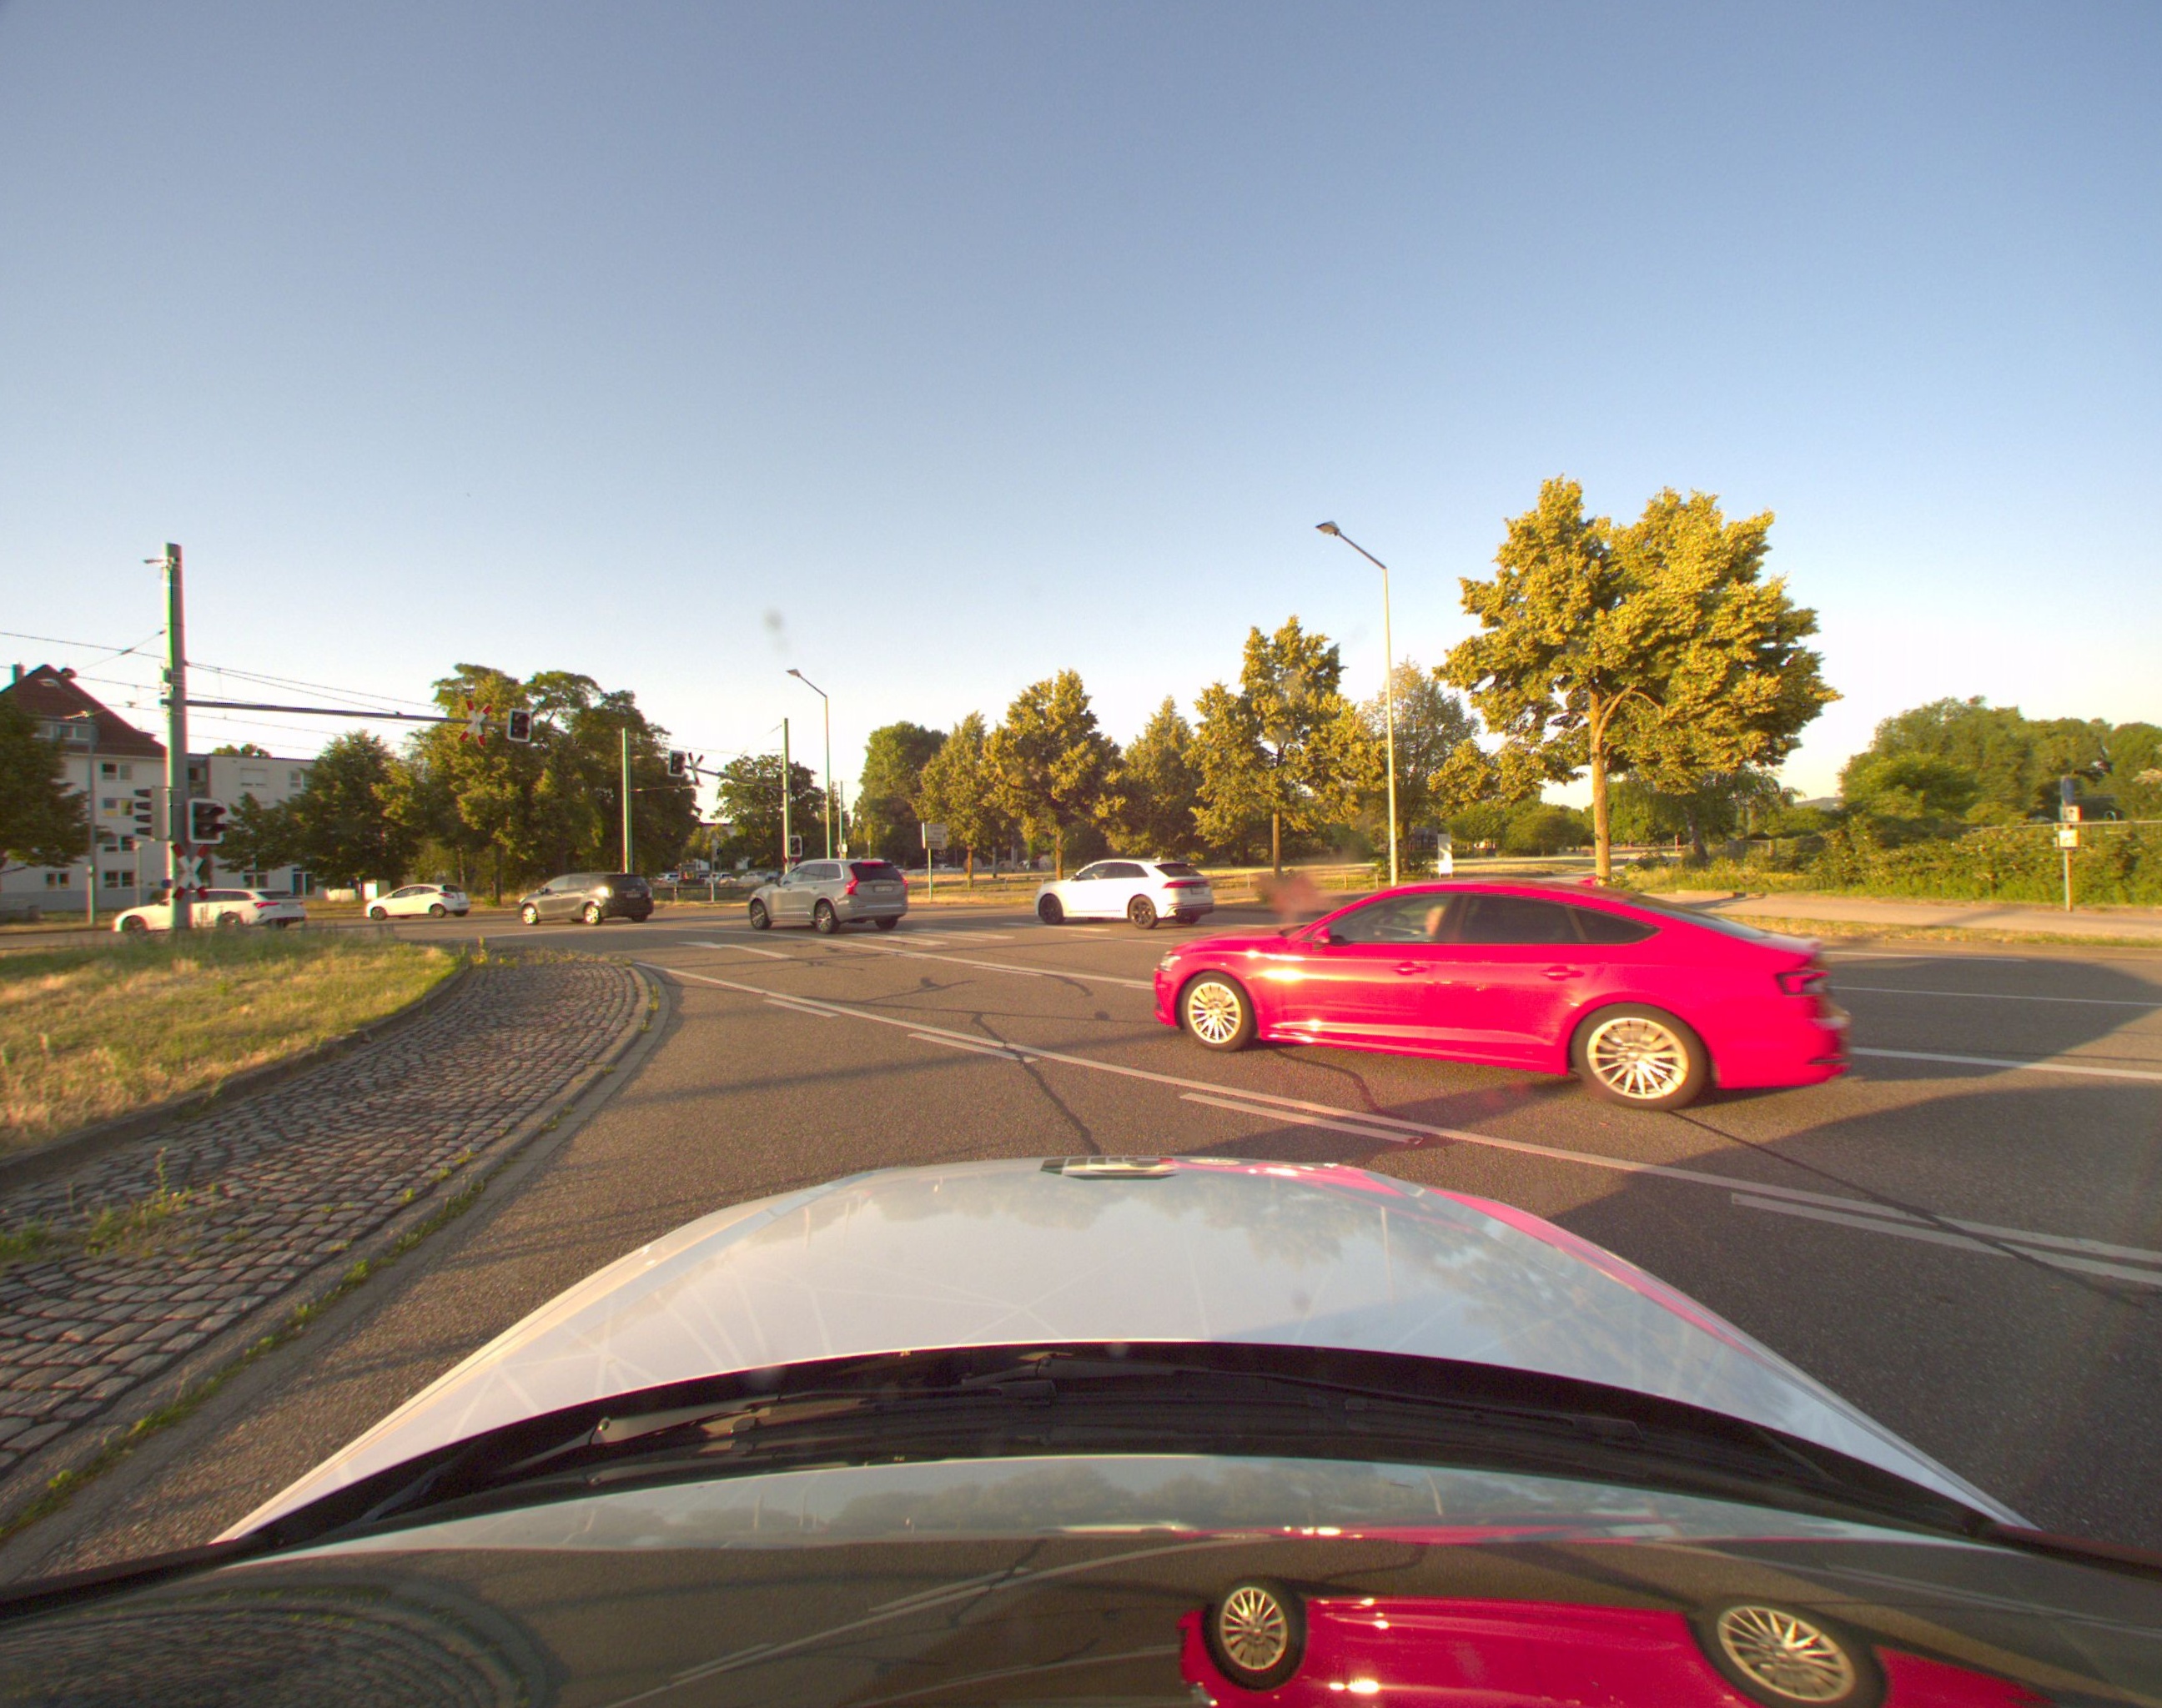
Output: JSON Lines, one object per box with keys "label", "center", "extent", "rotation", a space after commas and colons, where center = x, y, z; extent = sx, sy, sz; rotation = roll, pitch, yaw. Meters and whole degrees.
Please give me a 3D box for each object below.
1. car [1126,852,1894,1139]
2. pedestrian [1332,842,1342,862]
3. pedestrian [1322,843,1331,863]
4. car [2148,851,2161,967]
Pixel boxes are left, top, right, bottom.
{"label": "car", "center": [2.772, 0.754, 6.183], "extent": [4.522, 1.460, 1.857], "rotation": [-1, -1, 34]}
{"label": "pedestrian", "center": [20.767, -0.173, 65.994], "extent": [0.523, 1.626, 0.624], "rotation": [-2, -1, 37]}
{"label": "pedestrian", "center": [19.902, -0.084, 66.020], "extent": [0.526, 1.626, 0.584], "rotation": [-2, -1, 40]}
{"label": "car", "center": [15.031, 0.647, 8.937], "extent": [3.586, 1.483, 1.737], "rotation": [-2, -2, 27]}
